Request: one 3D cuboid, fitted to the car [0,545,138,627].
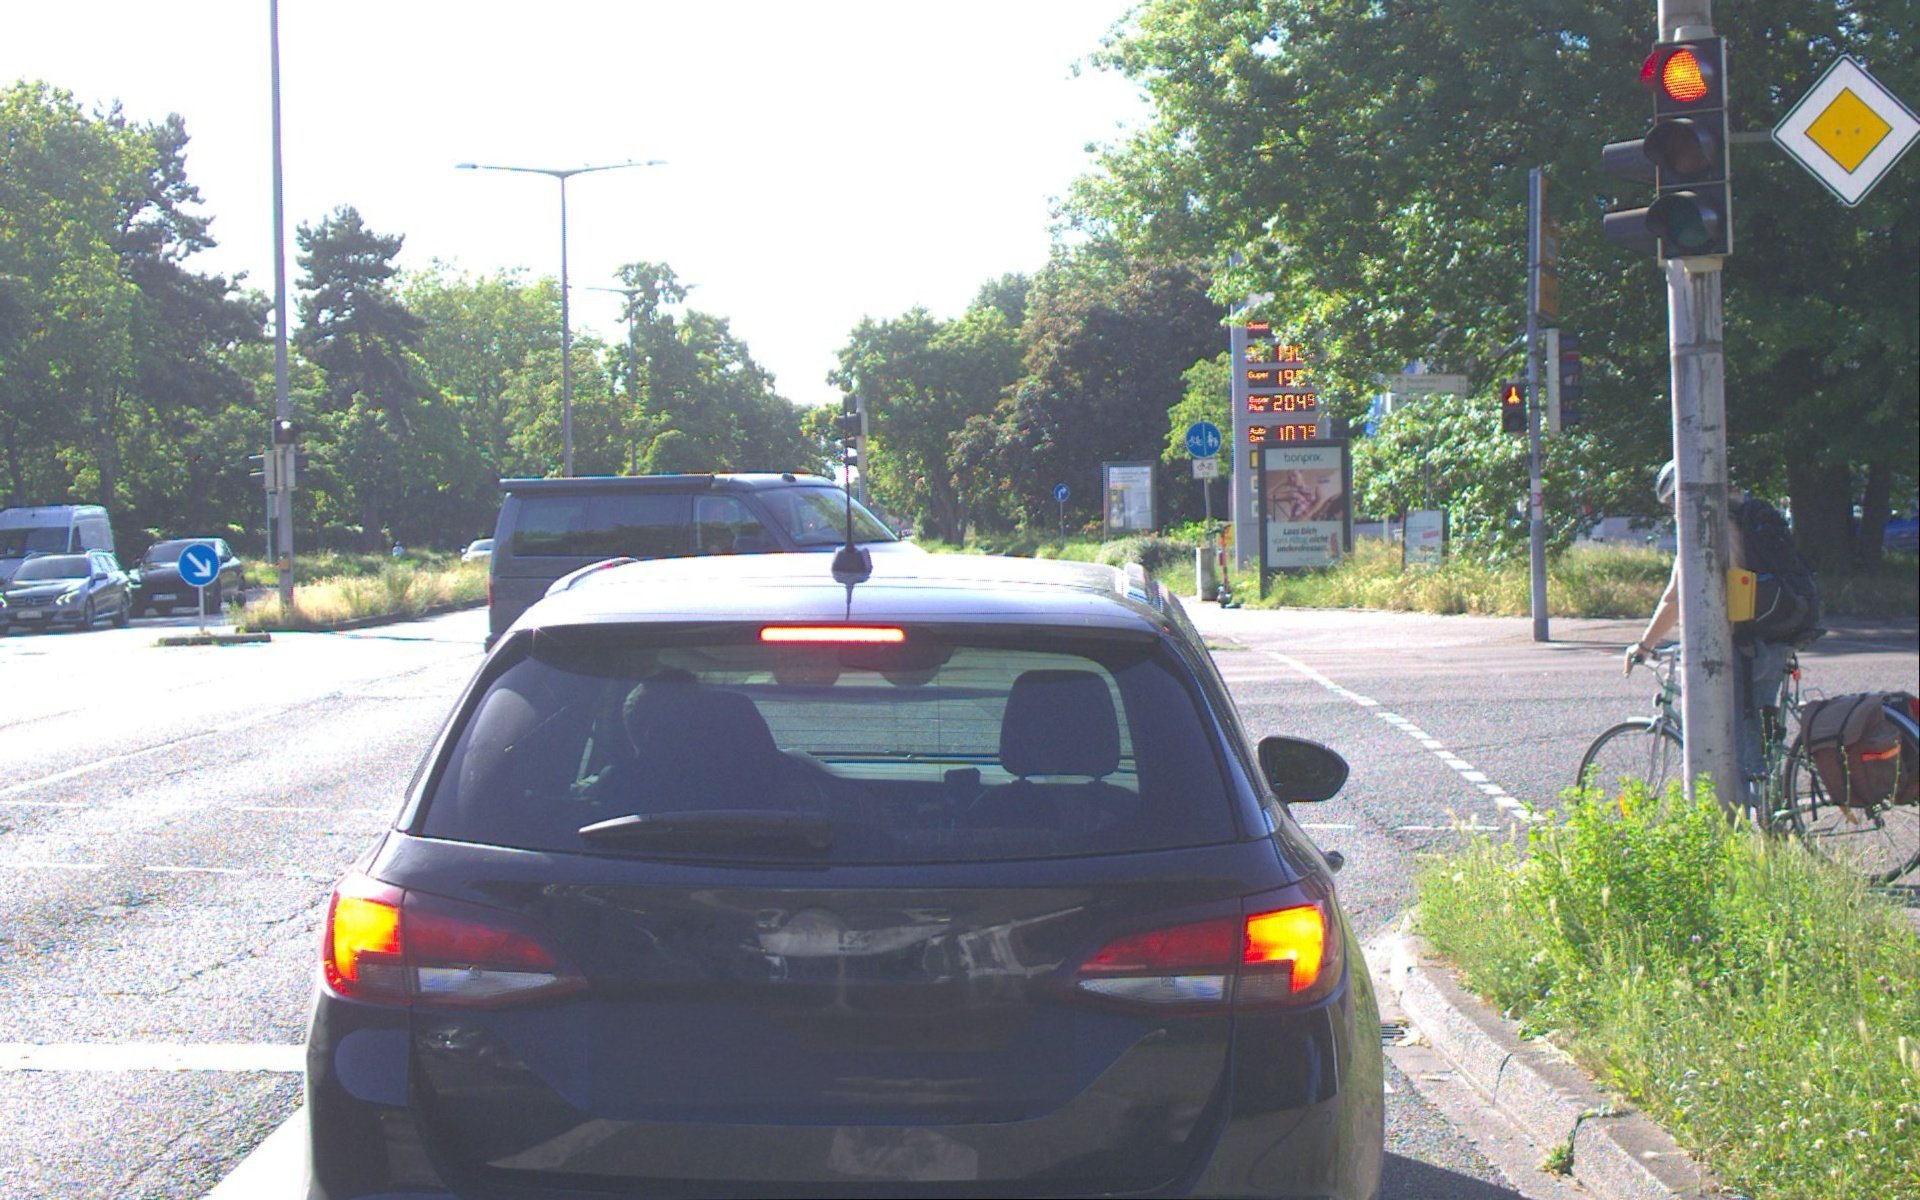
[{"bbox_3d":[-16.856,-0.287,64.696,1.686,1.428,4.615,-2,1,-1],"label":"car"}]

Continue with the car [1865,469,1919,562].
[{"bbox_3d":[17.095,-1.433,56.721,3.887,1.512,1.746,-2,1,-23],"label":"car"}]

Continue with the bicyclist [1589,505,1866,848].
[{"bbox_3d":[2.972,0.297,13.333,0.536,1.272,0.829,-3,0,-44],"label":"bicyclist"}]

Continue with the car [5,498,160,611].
[{"bbox_3d":[-20.490,-1.092,80.551,2.100,2.484,6.004,-2,1,-1],"label":"car"}]

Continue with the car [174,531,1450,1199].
[{"bbox_3d":[-0.229,0.627,6.851,1.756,1.490,4.207,0,1,-1],"label":"car"}]

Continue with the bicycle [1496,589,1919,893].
[{"bbox_3d":[2.982,0.542,13.337,0.536,1.094,1.775,-3,0,-44],"label":"bicycle"}]

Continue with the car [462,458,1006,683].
[{"bbox_3d":[-2.190,-0.268,32.529,5.009,1.985,1.914,-1,1,35],"label":"car"}]

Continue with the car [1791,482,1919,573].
[{"bbox_3d":[16.619,-1.291,59.806,3.887,1.512,1.746,-2,1,-23],"label":"car"}]

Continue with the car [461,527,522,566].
[{"bbox_3d":[-18.076,-2.073,132.715,1.776,1.458,4.165,-1,1,-1],"label":"car"}]

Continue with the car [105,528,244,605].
[{"bbox_3d":[-17.201,-0.763,75.503,1.993,1.596,4.616,-1,1,-1],"label":"car"}]

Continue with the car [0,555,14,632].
[{"bbox_3d":[-18.941,-0.073,63.728,1.641,1.451,4.222,-2,1,0],"label":"car"}]
